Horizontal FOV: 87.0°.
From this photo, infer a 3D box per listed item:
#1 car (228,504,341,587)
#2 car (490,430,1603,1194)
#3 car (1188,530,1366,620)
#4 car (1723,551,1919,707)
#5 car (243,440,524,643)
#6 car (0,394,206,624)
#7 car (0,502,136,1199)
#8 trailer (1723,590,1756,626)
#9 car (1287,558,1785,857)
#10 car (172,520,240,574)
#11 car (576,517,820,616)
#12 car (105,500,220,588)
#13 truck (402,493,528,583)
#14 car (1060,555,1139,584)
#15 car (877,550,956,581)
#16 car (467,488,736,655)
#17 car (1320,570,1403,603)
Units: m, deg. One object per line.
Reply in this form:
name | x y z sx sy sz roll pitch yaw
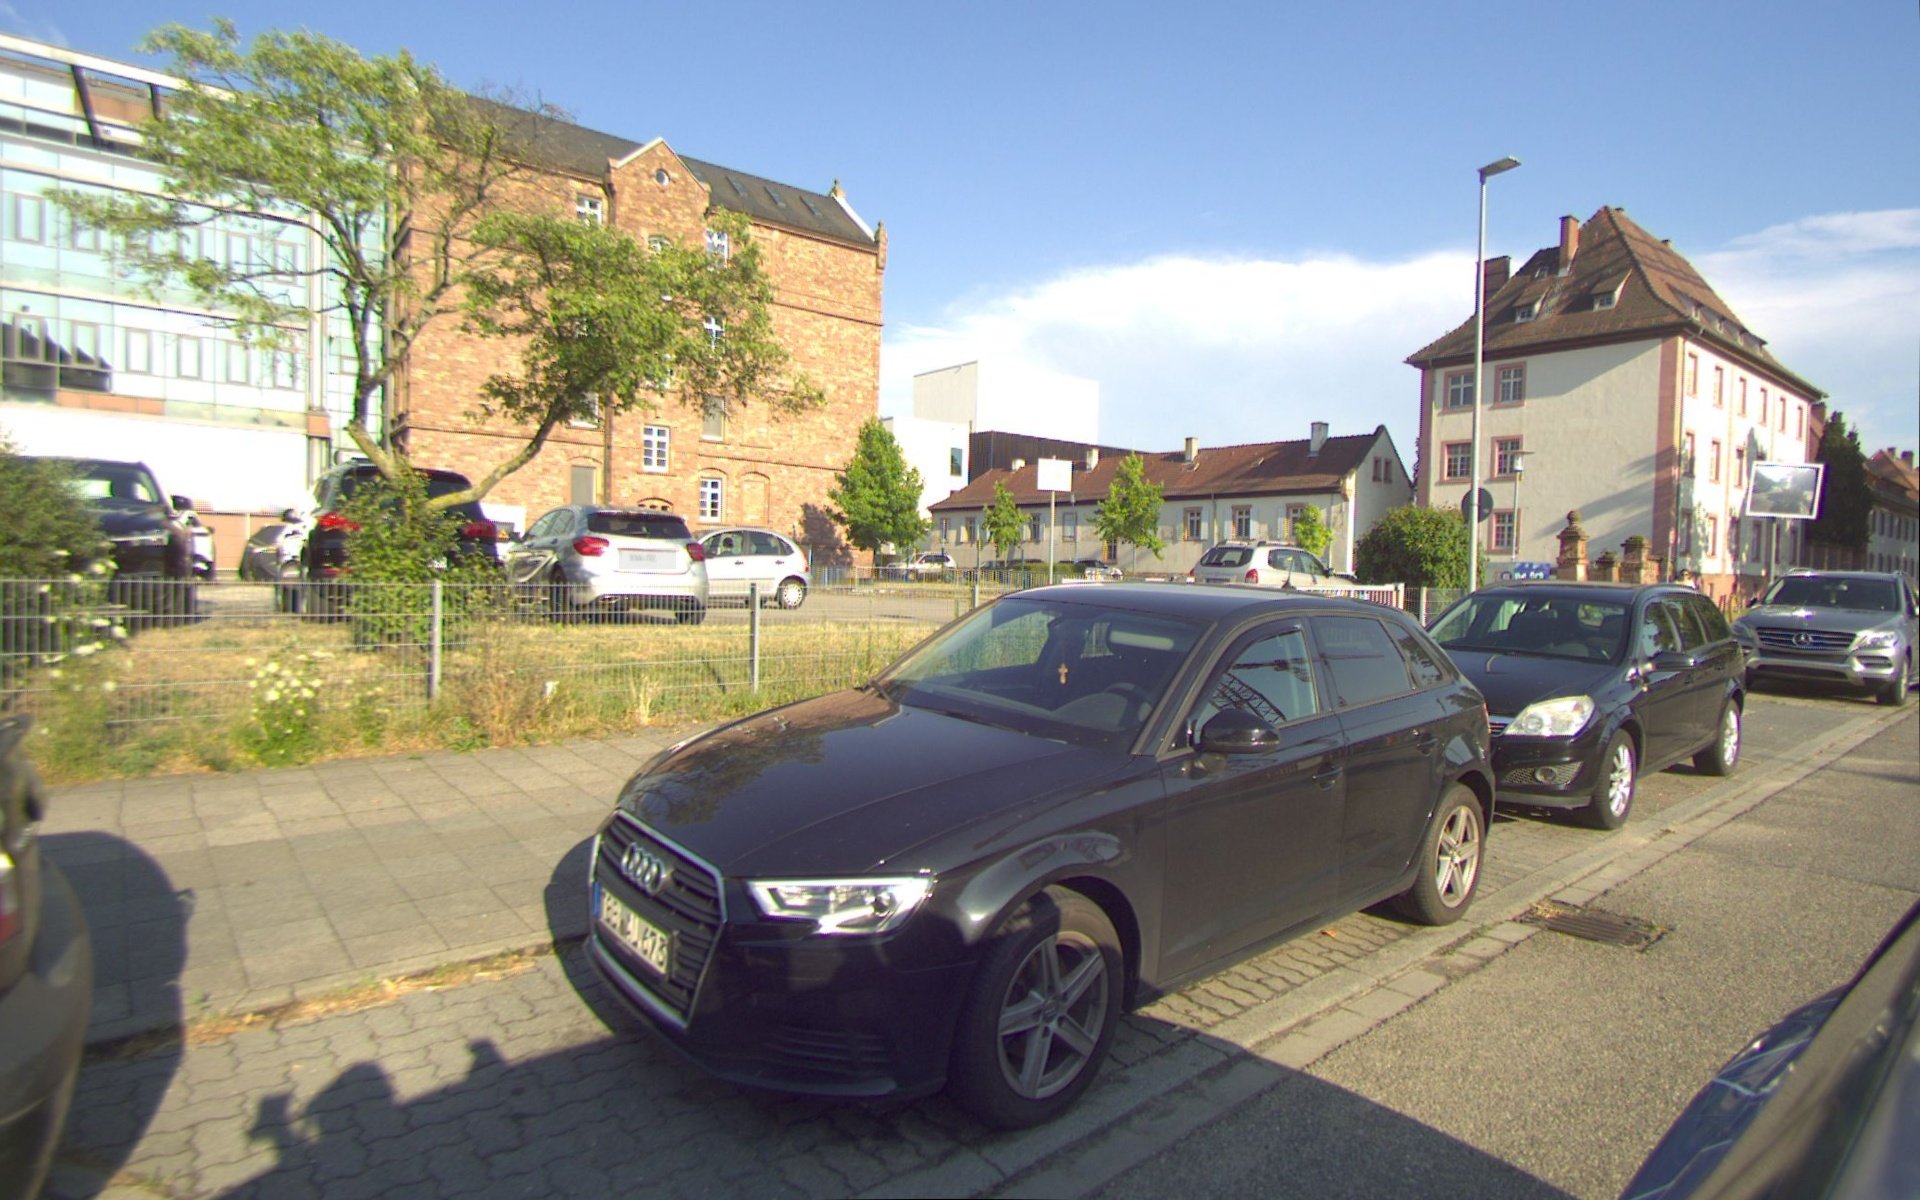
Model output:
car | -14.956 -1.116 22.304 1.701 1.622 4.487 -1 1 -38
car | 0.778 0.347 4.288 4.725 1.548 1.906 -1 3 -40
car | 6.584 -0.499 20.825 3.930 1.683 1.656 -1 1 -40
car | 12.964 0.286 14.644 4.725 1.799 1.927 -1 6 -40
car | -6.524 -0.551 11.250 1.965 1.816 3.993 -1 1 -41
car | -8.613 -0.736 9.737 1.965 1.816 3.995 -1 1 -40
car | -3.295 0.499 0.854 3.893 1.454 1.652 2 1 -44
trailer | 24.188 0.242 31.385 1.244 1.080 0.484 -1 1 -36
car | 4.440 0.516 7.504 4.361 1.559 1.746 -1 4 -40
car | -25.549 -1.734 34.248 1.701 1.622 4.487 -1 1 -38
car | -4.814 -0.601 18.846 3.931 1.646 1.997 -1 1 -41
car | -16.577 -1.080 21.064 1.701 1.622 4.487 -1 1 -38
truck | -16.936 -1.980 34.419 2.497 2.717 6.438 -1 1 -38
car | 8.623 -1.851 62.387 4.880 1.734 1.999 -1 1 -37
car | -2.410 -1.885 56.311 3.925 1.638 1.999 -1 1 -36
car | -4.771 -0.336 13.136 1.965 1.816 3.993 -1 1 -41
car | 18.871 -0.660 47.497 3.930 1.471 1.997 -1 1 -40
